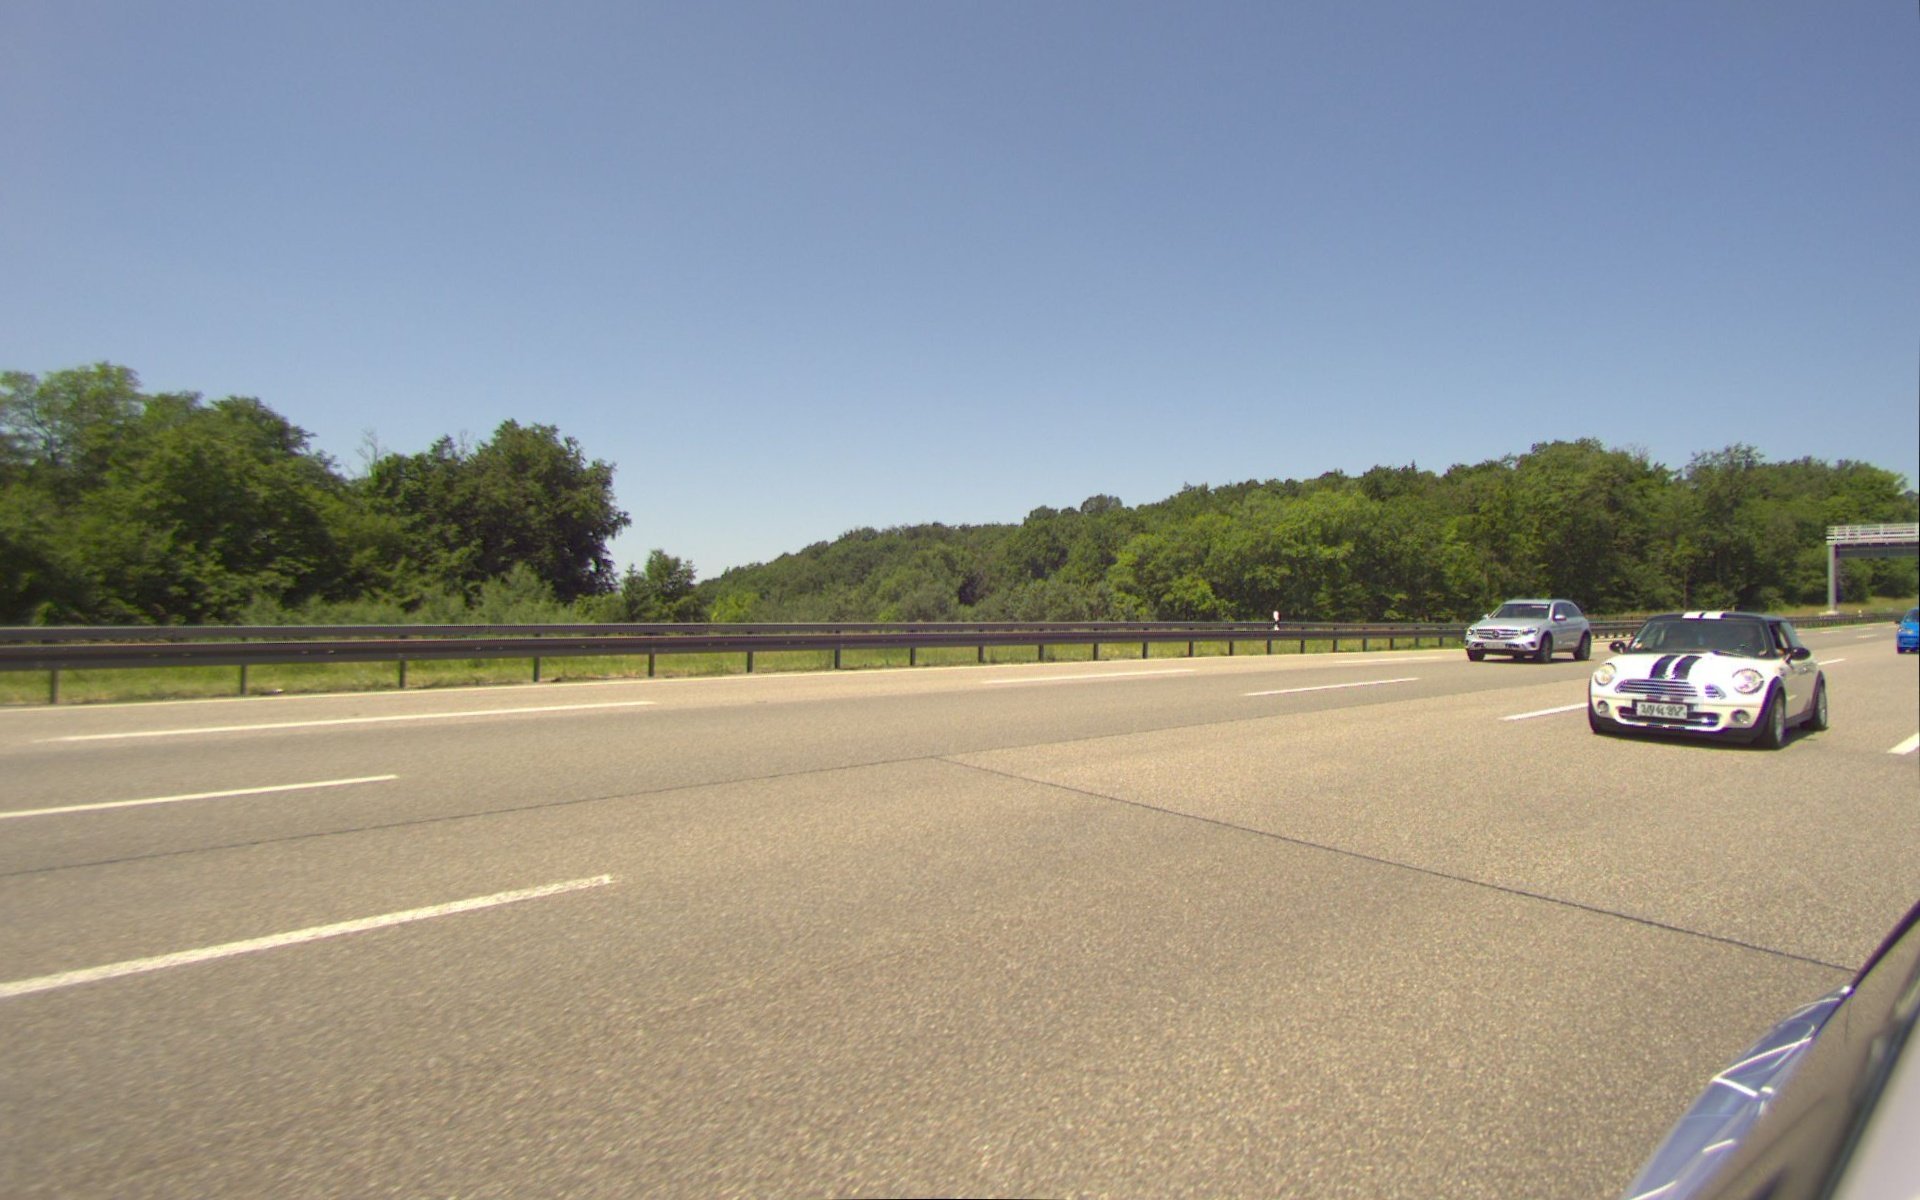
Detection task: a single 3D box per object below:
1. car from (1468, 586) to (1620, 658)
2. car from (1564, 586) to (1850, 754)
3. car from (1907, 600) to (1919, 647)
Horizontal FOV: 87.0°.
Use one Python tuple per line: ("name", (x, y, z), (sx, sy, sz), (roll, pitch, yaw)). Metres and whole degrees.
("car", (15.614, 0.593, 26.936), (5.146, 1.753, 1.804), (1, -3, -40))
("car", (8.541, 0.669, 11.449), (3.931, 1.572, 1.844), (1, 0, -42))
("car", (31.249, 0.698, 31.765), (3.929, 1.429, 1.740), (0, -1, -40))
